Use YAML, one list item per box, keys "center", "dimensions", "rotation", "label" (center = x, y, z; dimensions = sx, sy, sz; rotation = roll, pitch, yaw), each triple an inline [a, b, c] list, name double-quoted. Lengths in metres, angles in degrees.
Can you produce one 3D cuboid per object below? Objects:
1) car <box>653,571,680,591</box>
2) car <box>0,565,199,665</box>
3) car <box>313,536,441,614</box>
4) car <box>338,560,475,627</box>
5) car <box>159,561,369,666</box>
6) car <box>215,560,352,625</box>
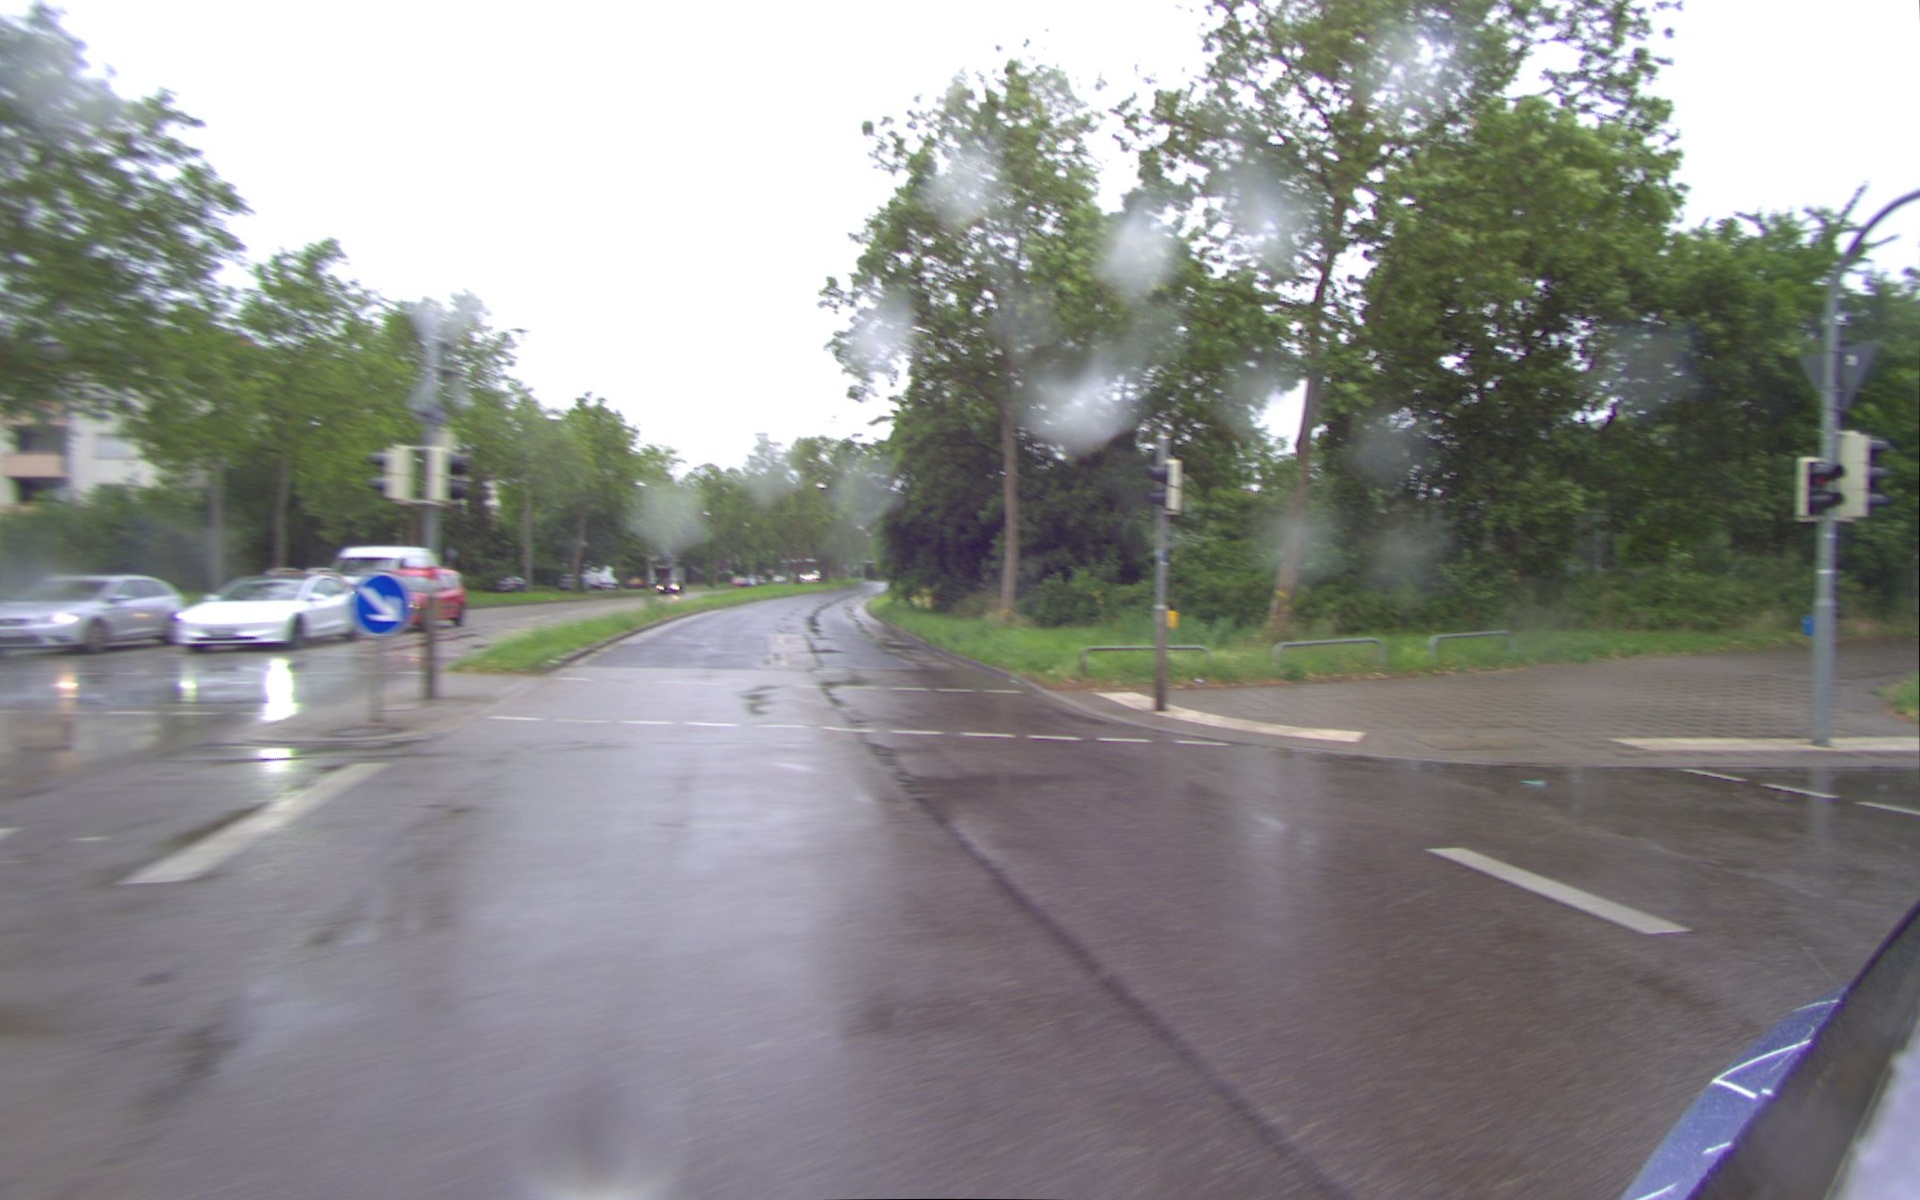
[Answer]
- center: [-25.287, -1.624, 87.281]
  dimensions: [1.958, 1.660, 4.007]
  rotation: [0, 0, -12]
  label: "car"
- center: [-16.898, 0.249, 19.512]
  dimensions: [1.894, 1.712, 4.416]
  rotation: [0, 0, -13]
  label: "car"
- center: [-19.573, -0.798, 34.294]
  dimensions: [1.959, 2.422, 5.632]
  rotation: [0, 0, -10]
  label: "car"
- center: [-14.532, -0.172, 26.859]
  dimensions: [1.754, 1.627, 4.626]
  rotation: [0, 0, -9]
  label: "car"
- center: [-13.724, 0.222, 20.334]
  dimensions: [1.894, 1.851, 4.617]
  rotation: [0, 0, -13]
  label: "car"
- center: [-18.188, -0.210, 27.427]
  dimensions: [1.753, 1.627, 4.077]
  rotation: [0, 0, -13]
  label: "car"
